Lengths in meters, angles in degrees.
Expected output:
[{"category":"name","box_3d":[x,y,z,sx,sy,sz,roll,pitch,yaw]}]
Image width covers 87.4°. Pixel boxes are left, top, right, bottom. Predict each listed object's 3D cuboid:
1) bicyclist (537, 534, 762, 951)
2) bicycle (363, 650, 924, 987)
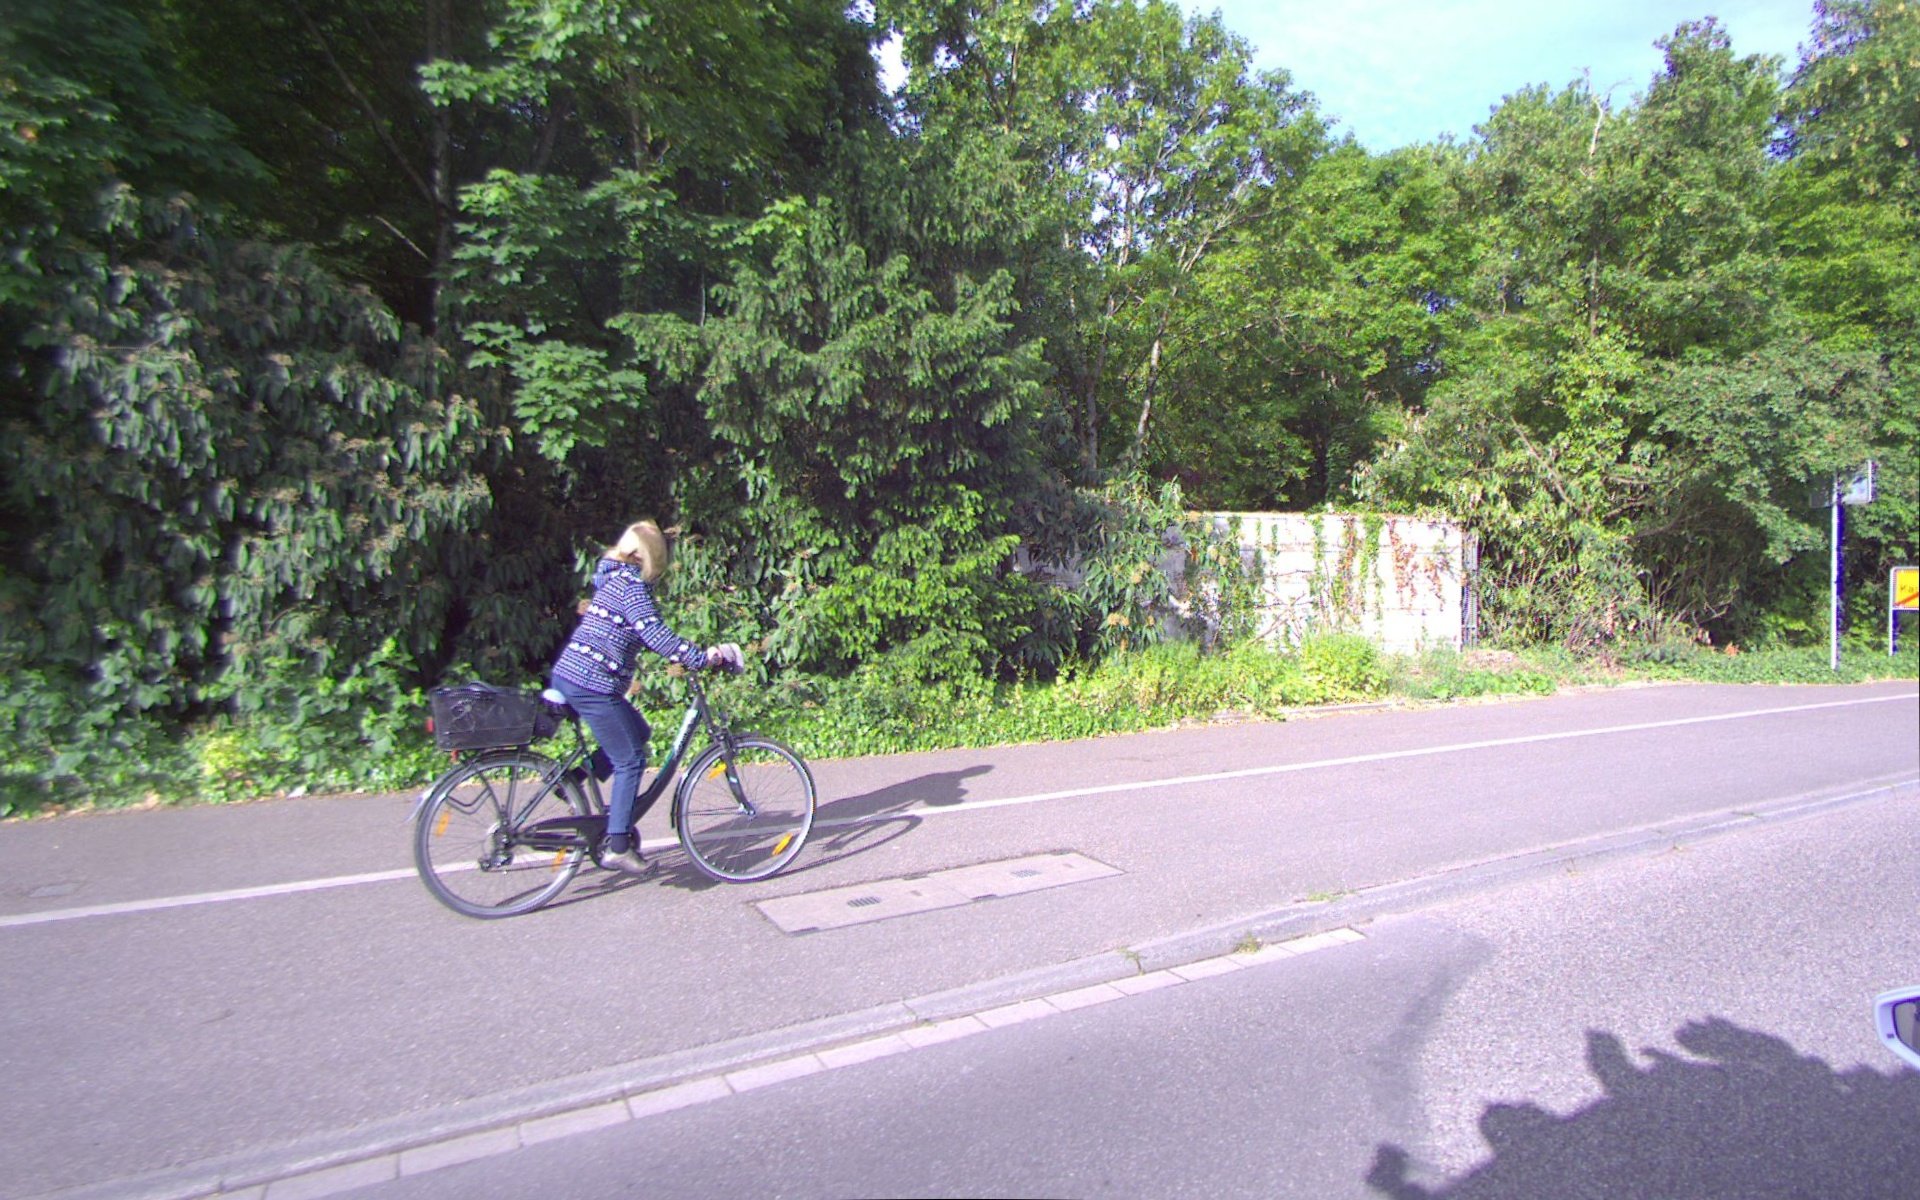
[{"category":"bicyclist","box_3d":[-1.416,0.570,4.543,0.872,1.699,0.606,0,3,-28]},{"category":"bicycle","box_3d":[-1.347,0.865,4.602,2.319,1.112,0.659,-1,4,-28]}]
